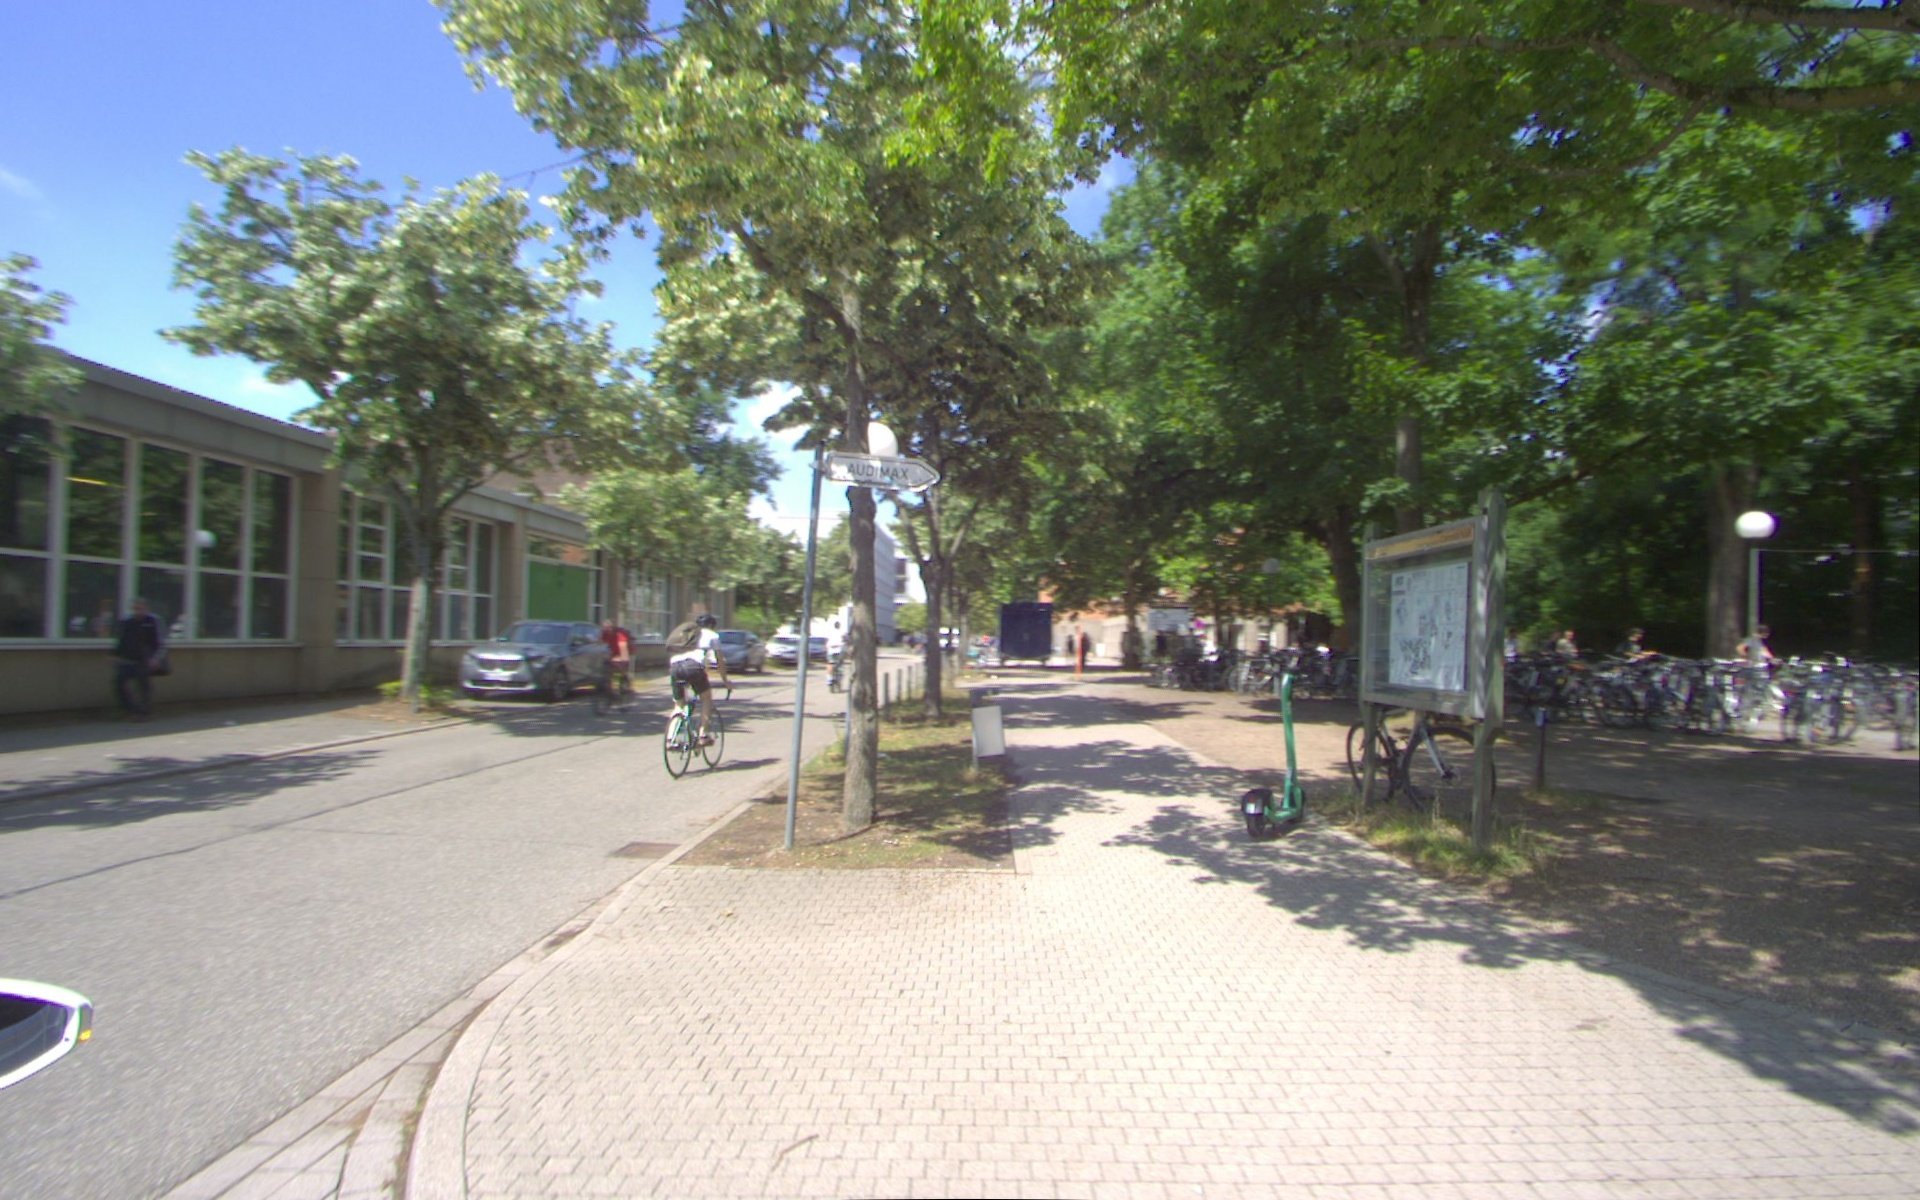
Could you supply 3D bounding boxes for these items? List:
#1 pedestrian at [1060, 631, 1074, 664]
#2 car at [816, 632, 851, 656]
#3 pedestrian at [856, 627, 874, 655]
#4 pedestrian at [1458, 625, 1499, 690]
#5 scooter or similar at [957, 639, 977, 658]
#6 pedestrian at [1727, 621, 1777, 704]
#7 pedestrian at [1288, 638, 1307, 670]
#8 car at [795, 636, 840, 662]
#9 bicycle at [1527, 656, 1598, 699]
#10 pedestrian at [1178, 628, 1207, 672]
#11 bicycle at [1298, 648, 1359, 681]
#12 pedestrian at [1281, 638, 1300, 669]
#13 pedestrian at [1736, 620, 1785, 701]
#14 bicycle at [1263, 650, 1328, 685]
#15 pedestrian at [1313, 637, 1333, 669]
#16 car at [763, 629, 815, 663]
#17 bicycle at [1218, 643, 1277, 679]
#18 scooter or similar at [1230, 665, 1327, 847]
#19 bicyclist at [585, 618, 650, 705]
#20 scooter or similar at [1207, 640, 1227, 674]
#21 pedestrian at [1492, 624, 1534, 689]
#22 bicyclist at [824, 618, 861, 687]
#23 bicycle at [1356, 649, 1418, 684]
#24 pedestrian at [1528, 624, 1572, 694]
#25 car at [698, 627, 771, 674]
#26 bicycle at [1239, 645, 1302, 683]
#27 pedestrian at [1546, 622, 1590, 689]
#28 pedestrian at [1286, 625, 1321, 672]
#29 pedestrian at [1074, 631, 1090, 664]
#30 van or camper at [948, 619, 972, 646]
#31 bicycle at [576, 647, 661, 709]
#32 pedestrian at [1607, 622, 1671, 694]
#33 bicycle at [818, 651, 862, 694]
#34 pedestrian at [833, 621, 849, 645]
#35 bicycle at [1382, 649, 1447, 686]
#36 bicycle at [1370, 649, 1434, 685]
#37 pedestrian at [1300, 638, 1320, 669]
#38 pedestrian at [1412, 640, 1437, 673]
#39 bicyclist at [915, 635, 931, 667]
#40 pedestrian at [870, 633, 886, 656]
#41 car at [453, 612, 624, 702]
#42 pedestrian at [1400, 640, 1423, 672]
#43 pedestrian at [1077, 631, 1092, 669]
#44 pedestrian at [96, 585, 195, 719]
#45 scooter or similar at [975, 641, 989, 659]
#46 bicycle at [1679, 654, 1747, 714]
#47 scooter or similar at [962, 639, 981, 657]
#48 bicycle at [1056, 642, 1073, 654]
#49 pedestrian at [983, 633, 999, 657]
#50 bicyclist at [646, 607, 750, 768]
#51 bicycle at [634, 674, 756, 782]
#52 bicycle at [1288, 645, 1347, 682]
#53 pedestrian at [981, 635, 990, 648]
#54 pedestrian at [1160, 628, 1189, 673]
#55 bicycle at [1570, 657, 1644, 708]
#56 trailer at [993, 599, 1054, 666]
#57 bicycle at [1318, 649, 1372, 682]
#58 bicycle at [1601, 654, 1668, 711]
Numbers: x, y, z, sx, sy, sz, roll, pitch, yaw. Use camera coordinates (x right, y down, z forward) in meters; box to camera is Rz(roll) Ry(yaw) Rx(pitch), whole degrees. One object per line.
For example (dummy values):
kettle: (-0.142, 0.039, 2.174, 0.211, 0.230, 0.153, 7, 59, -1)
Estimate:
pedestrian: (5.586, 2.471, 52.235, 0.686, 1.682, 0.788, 0, -1, 2)
car: (-7.972, 2.776, 63.469, 1.635, 1.429, 3.809, 3, -2, 1)
pedestrian: (-6.948, 2.962, 73.172, 0.845, 1.887, 1.105, -5, 8, -42)
pedestrian: (14.468, 1.598, 27.951, 0.730, 1.798, 0.721, 1, 0, -6)
scooter or similar: (0.473, 3.419, 70.533, 1.247, 1.281, 0.647, 0, -2, 34)
pedestrian: (17.641, 1.376, 22.313, 0.736, 1.798, 0.715, 1, -1, -39)
pedestrian: (15.046, 2.403, 44.673, 0.560, 1.364, 0.729, -2, 0, -3)
car: (-8.093, 2.784, 57.222, 1.697, 1.360, 4.167, 3, -2, 3)
bicycle: (14.562, 1.851, 24.180, 1.872, 0.991, 0.441, 1, -2, -22)
pedestrian: (10.464, 2.248, 45.172, 0.820, 1.974, 1.076, 0, -1, -19)
bicycle: (11.504, 2.011, 31.246, 1.871, 0.991, 0.478, 1, -1, -18)
pedestrian: (14.982, 2.422, 45.431, 0.560, 1.364, 0.729, -2, 0, -3)
pedestrian: (18.248, 1.368, 22.834, 0.736, 1.798, 0.715, 1, -1, -39)
bicycle: (9.912, 1.995, 29.591, 1.872, 0.991, 0.611, 1, -2, -21)
pedestrian: (16.186, 2.368, 44.708, 0.560, 1.364, 0.729, -2, 0, -3)
car: (-8.282, 2.248, 48.847, 1.697, 1.474, 4.586, 3, -2, 0)
bicycle: (9.130, 1.934, 31.829, 1.778, 1.133, 0.611, 1, -2, -21)
scooter or similar: (2.354, 1.076, 7.325, 0.489, 1.129, 1.357, 0, 0, 26)
bicyclist: (-6.279, 1.119, 18.416, 0.822, 1.563, 0.960, 0, -1, 2)
scooter or similar: (9.657, 2.137, 37.654, 0.417, 1.234, 1.295, 1, -2, 2)
pedestrian: (15.475, 1.566, 28.029, 0.730, 1.798, 0.721, 1, 0, -6)
bicyclist: (-3.148, 1.413, 26.902, 0.758, 1.778, 0.849, 3, -1, 3)
bicycle: (12.353, 1.917, 28.940, 1.872, 0.991, 0.420, 1, -1, -21)
pedestrian: (15.401, 1.527, 26.151, 0.734, 1.798, 0.717, 1, 0, -30)
car: (-8.397, 1.888, 37.614, 1.729, 1.576, 4.116, 3, -2, 0)
bicycle: (9.549, 1.965, 30.750, 1.872, 1.133, 0.611, 1, -2, -21)
pedestrian: (16.721, 1.516, 27.549, 0.730, 1.798, 0.721, 1, 0, -6)
pedestrian: (13.451, 1.878, 39.230, 0.943, 1.798, 0.919, 1, 0, -6)
pedestrian: (6.346, 2.471, 52.262, 0.753, 1.682, 0.824, 0, -1, 2)
van or camper: (0.025, 3.193, 97.966, 1.961, 2.476, 4.573, 0, -3, 4)
bicycle: (-6.226, 1.455, 18.359, 0.802, 1.054, 1.934, 1, -5, 2)
pedestrian: (17.264, 1.456, 25.473, 0.947, 1.798, 0.970, 1, -1, -20)
bicycle: (-3.184, 1.920, 26.799, 0.795, 1.015, 2.125, 3, -2, 3)
pedestrian: (-9.042, 2.510, 76.078, 0.970, 1.761, 0.696, 1, -1, 36)
bicycle: (12.610, 1.870, 27.787, 1.872, 0.991, 0.477, 1, -2, -22)
bicycle: (12.474, 1.889, 28.259, 1.872, 0.991, 0.477, 1, -2, -22)
pedestrian: (15.616, 2.386, 44.689, 0.560, 1.364, 0.729, -2, 0, -3)
pedestrian: (18.988, 2.312, 40.928, 0.656, 1.288, 0.622, -2, 0, -3)
bicyclist: (-2.067, 2.881, 56.757, 0.795, 1.778, 0.693, 2, -2, 2)
pedestrian: (-5.806, 3.157, 70.895, 0.841, 1.616, 0.823, 1, -1, -41)
car: (-9.009, 1.208, 21.862, 1.792, 1.653, 4.519, 3, -2, -1)
pedestrian: (18.833, 2.336, 41.786, 0.656, 1.288, 0.622, -2, 0, -3)
pedestrian: (5.222, 2.098, 41.998, 0.559, 1.590, 0.928, 0, -3, 1)
pedestrian: (-11.541, 0.726, 14.213, 0.775, 1.810, 0.670, 3, 0, 2)
scooter or similar: (1.542, 3.425, 68.946, 0.639, 1.175, 1.263, 0, -2, 17)
bicycle: (14.479, 1.594, 19.245, 1.880, 1.096, 0.475, 1, -2, -35)
scooter or similar: (0.811, 3.432, 71.336, 1.247, 1.281, 0.636, 0, -2, 34)
bicycle: (9.309, 4.249, 89.098, 1.510, 1.046, 0.560, 0, -1, 1)
pedestrian: (2.369, 3.453, 77.199, 0.944, 1.717, 0.704, 6, 1, 12)
bicyclist: (-2.926, 0.960, 11.279, 0.705, 1.683, 1.095, 3, -1, 5)
bicycle: (-2.932, 1.394, 11.294, 0.695, 1.005, 1.911, 3, -2, 4)
bicycle: (11.488, 2.041, 32.163, 1.871, 1.158, 0.478, 1, -1, -18)
pedestrian: (4.189, 6.791, 163.948, 1.475, 2.022, 1.646, -2, -1, 0)
pedestrian: (9.592, 2.247, 44.849, 0.820, 1.974, 1.076, 0, -1, -19)
bicycle: (13.567, 1.713, 20.979, 1.876, 0.991, 0.476, 1, -2, -29)
trailer: (3.015, 1.598, 49.076, 2.648, 3.090, 6.260, 0, -2, 0)
bicycle: (11.795, 1.989, 30.658, 1.875, 0.991, 0.420, 1, -2, -27)
bicycle: (13.740, 1.659, 20.386, 1.880, 1.096, 0.475, 1, -2, -35)
